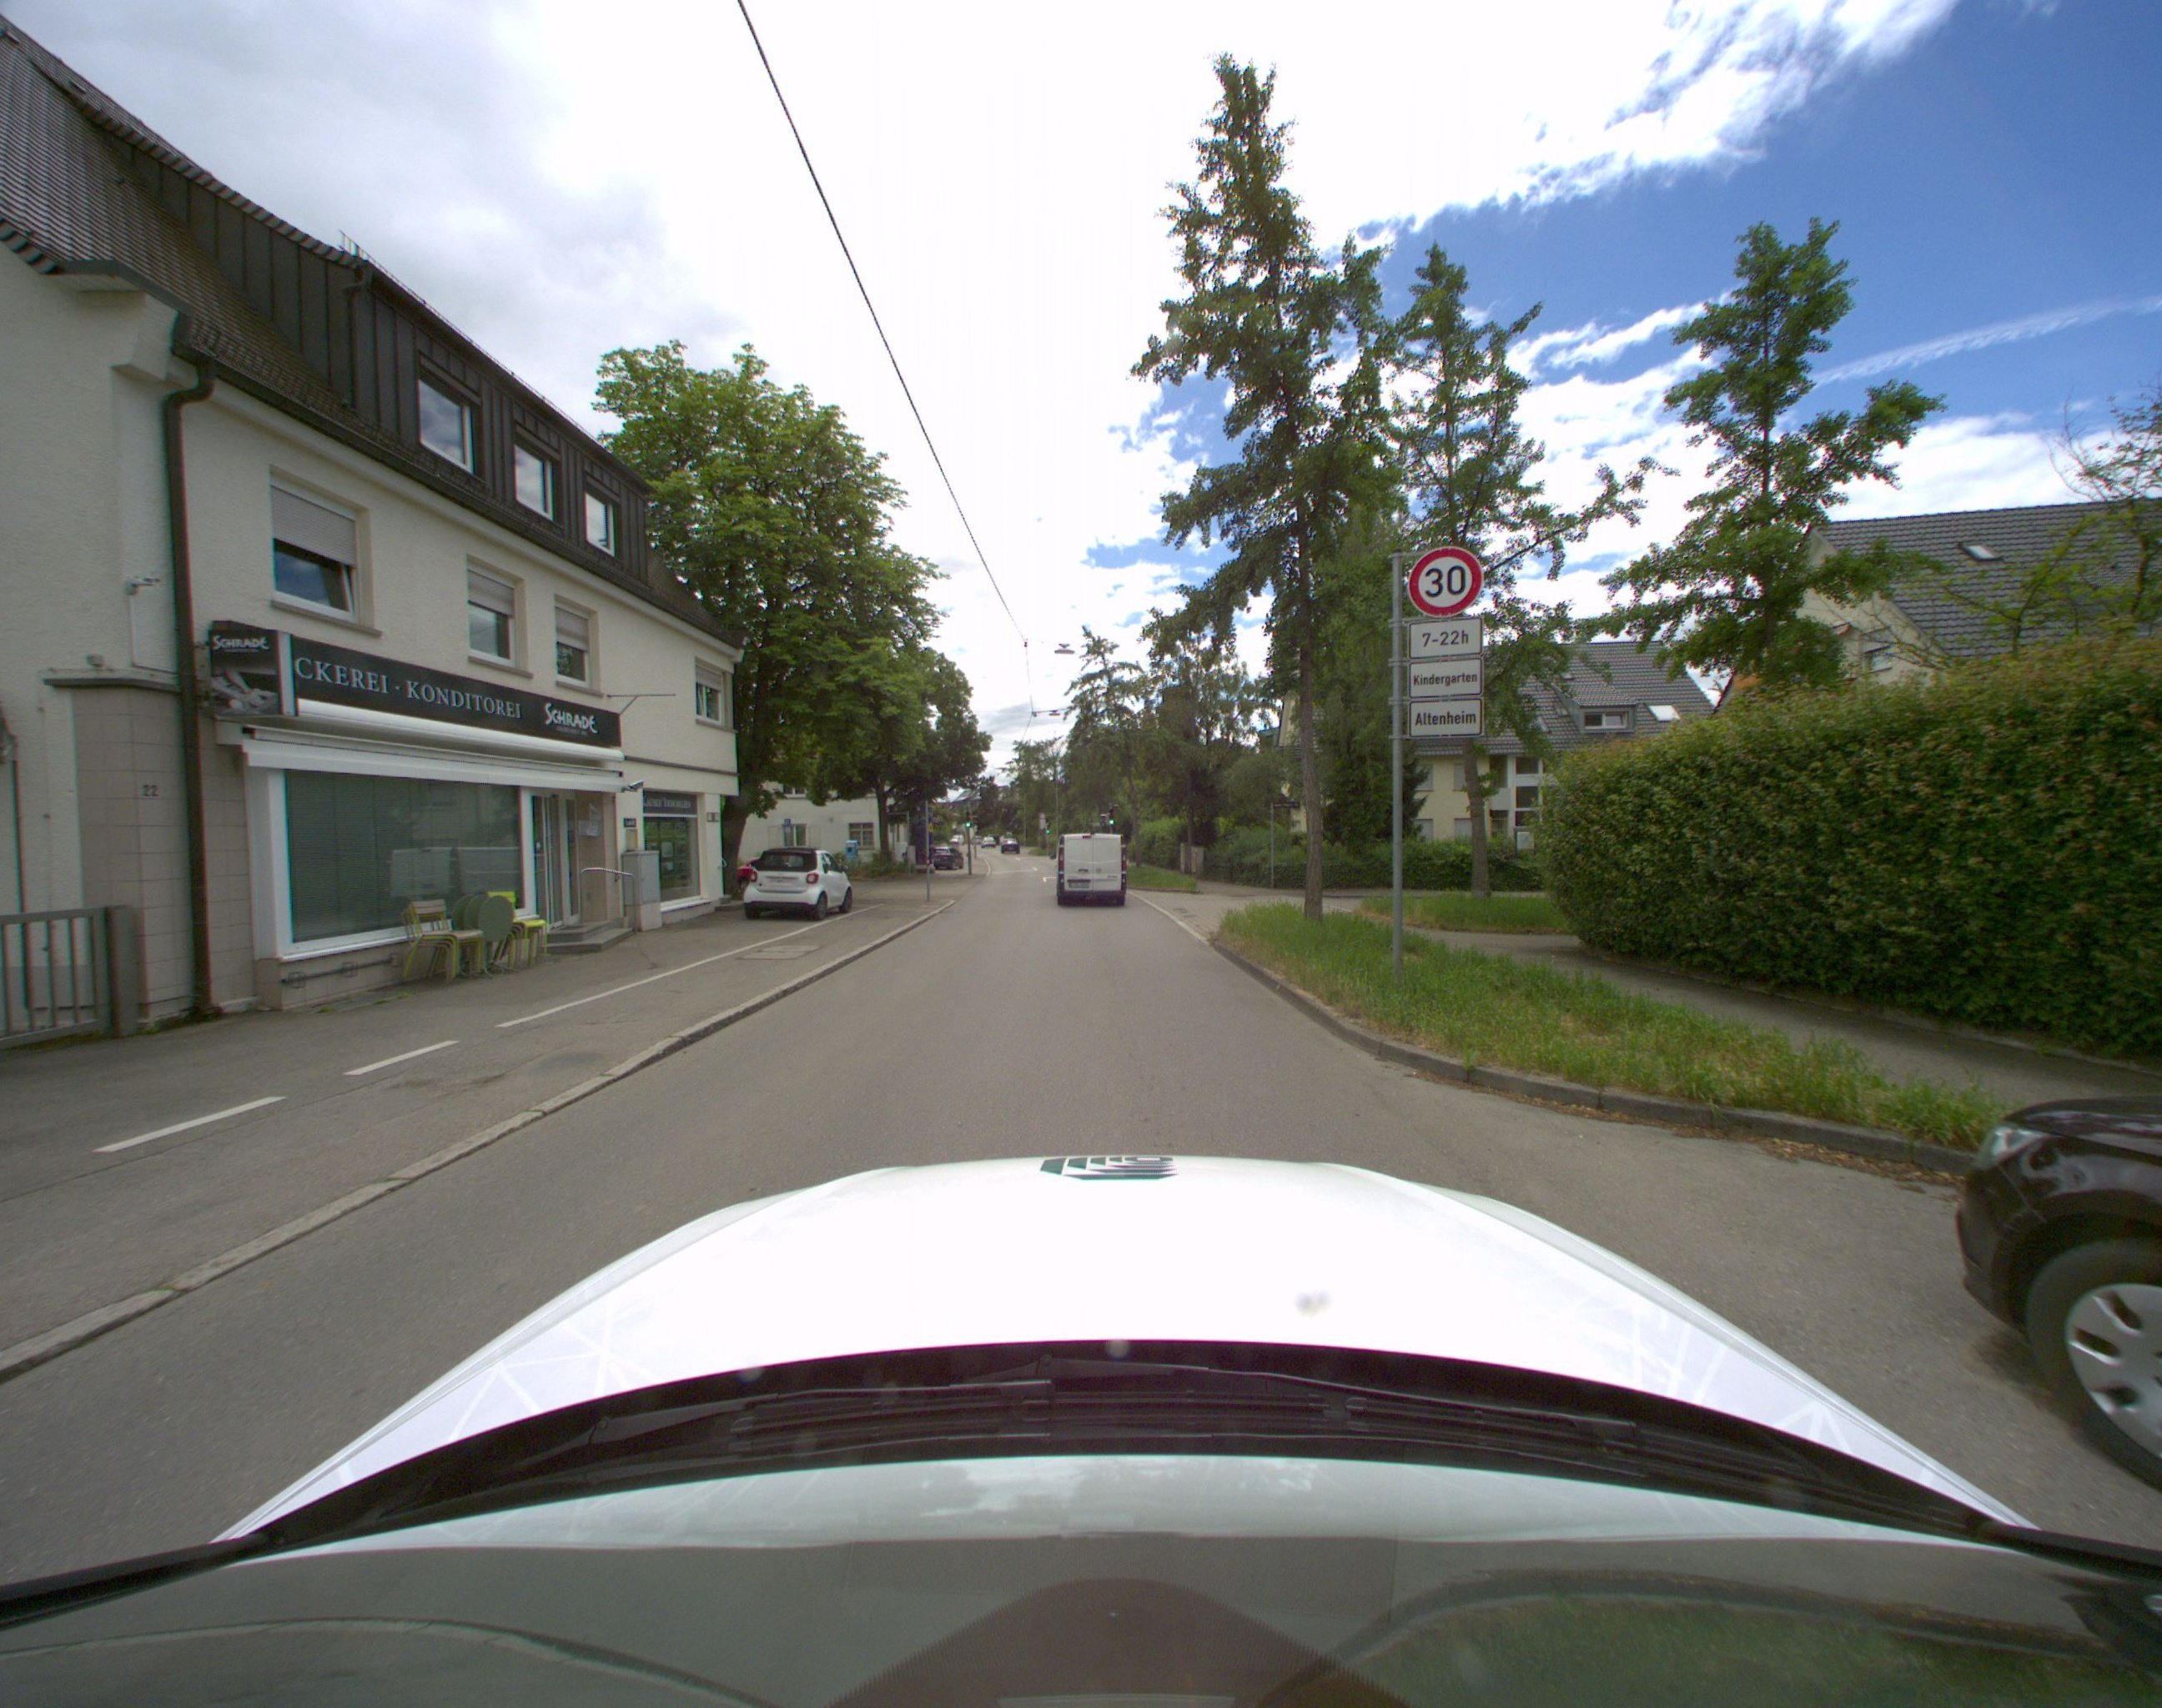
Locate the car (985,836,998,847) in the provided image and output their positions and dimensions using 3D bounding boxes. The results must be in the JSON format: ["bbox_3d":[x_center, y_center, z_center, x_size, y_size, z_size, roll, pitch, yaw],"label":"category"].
[{"bbox_3d":[-13.482,-1.876,122.209,1.824,1.727,3.989,-1,1,-9],"label":"car"}]

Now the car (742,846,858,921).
[{"bbox_3d":[-6.345,0.607,18.710,1.583,1.538,2.924,1,1,1],"label":"car"}]

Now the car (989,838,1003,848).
[{"bbox_3d":[-14.596,-1.833,138.978,1.895,1.611,4.482,-1,1,-12],"label":"car"}]

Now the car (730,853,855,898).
[{"bbox_3d":[-10.665,0.770,30.108,4.181,1.432,1.828,-1,4,26],"label":"car"}]

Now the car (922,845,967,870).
[{"bbox_3d":[-8.552,0.197,51.271,1.772,1.441,4.530,1,0,4],"label":"car"}]

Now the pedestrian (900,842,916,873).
[{"bbox_3d":[-9.444,0.191,44.439,0.695,1.616,0.715,-1,2,0],"label":"pedestrian"}]

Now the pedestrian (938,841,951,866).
[{"bbox_3d":[-9.698,-0.011,58.005,0.882,1.750,0.960,1,0,-11],"label":"pedestrian"}]

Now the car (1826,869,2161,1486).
[{"bbox_3d":[3.344,0.777,0.867,1.703,1.412,3.791,1,0,1],"label":"car"}]

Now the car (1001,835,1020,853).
[{"bbox_3d":[-7.648,-1.053,87.867,1.894,1.859,4.395,-1,1,-6],"label":"car"}]

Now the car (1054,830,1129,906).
[{"bbox_3d":[0.198,0.337,23.545,1.925,1.964,4.398,-1,1,-2],"label":"car"}]
